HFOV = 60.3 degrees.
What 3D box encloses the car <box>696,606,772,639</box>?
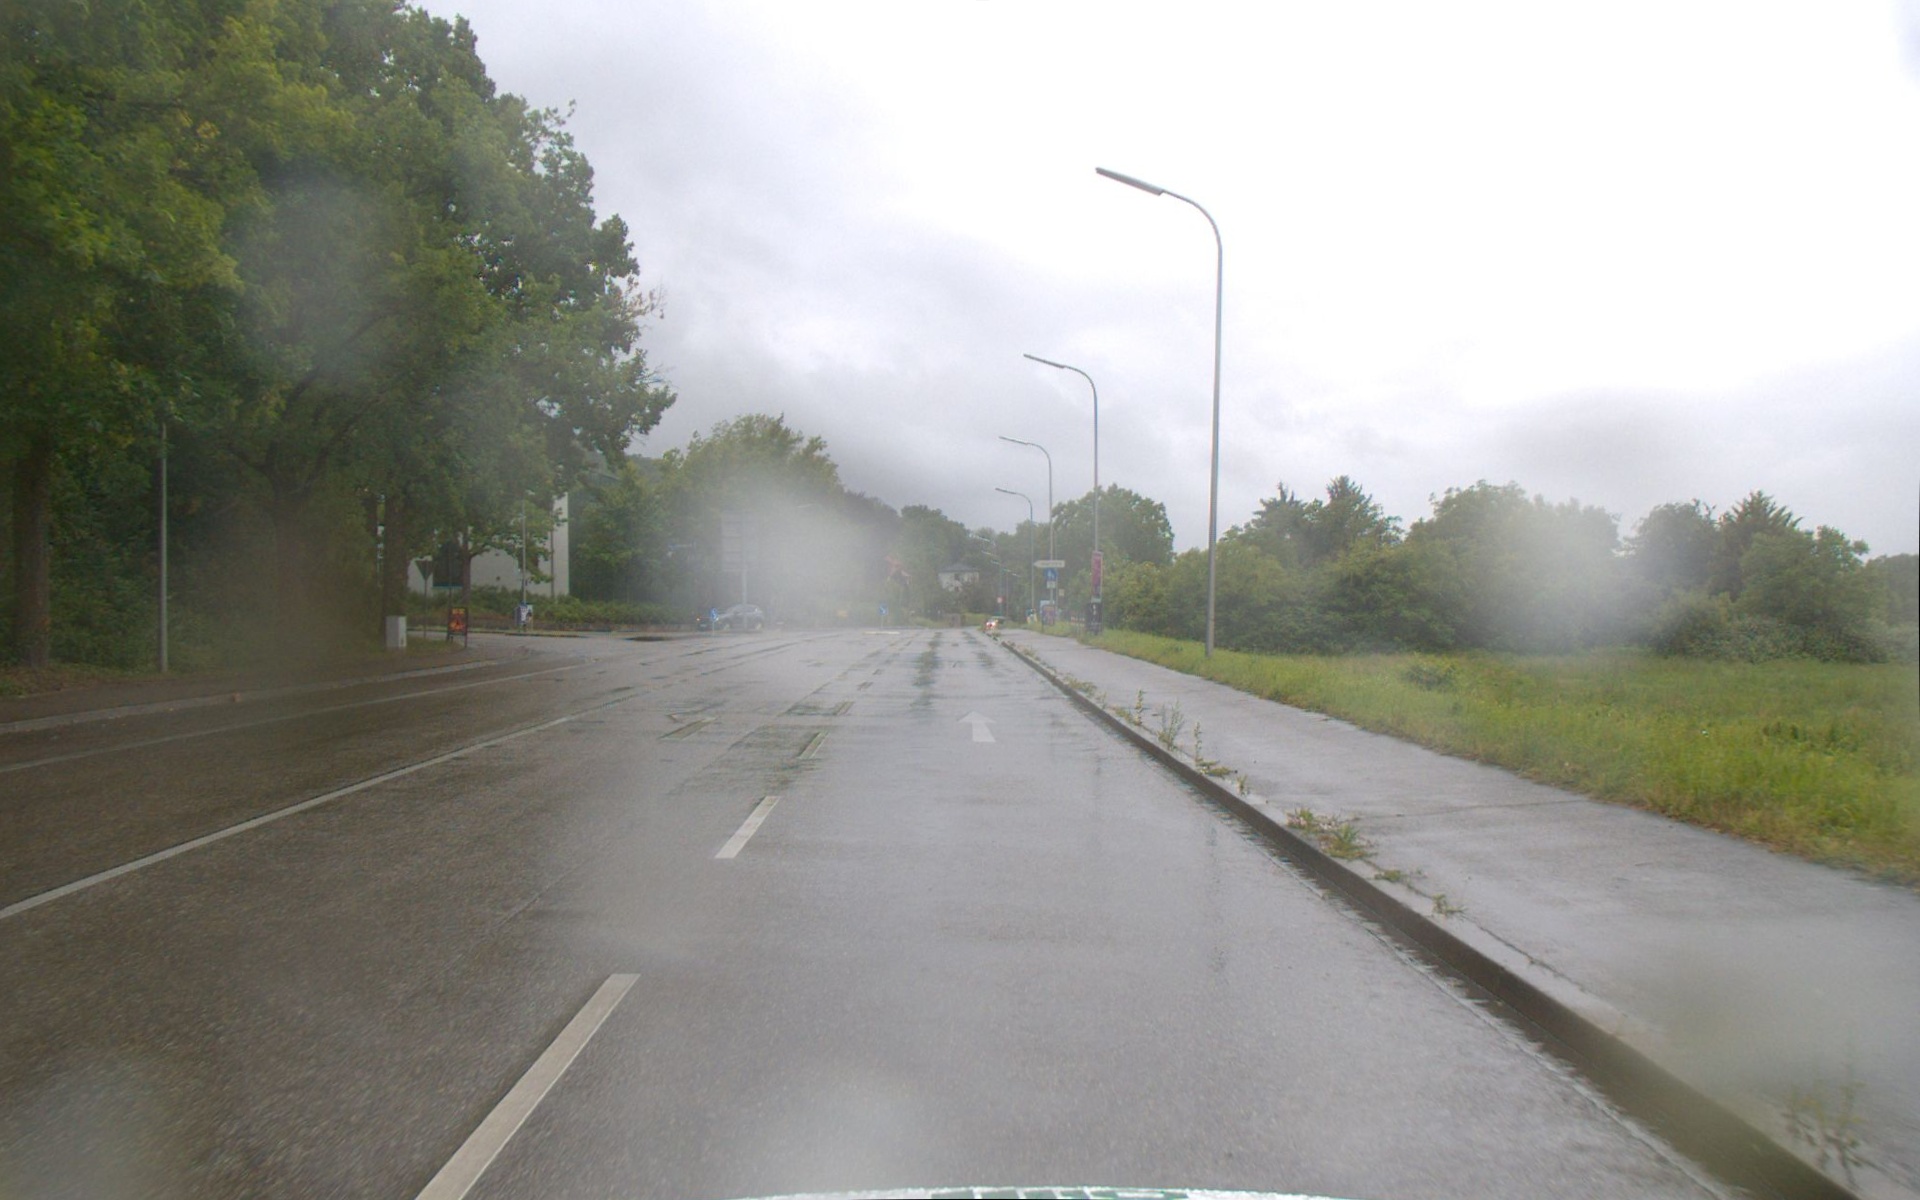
[{"bbox_3d":[-12.895,1.283,94.507,3.961,1.793,1.775,1,0,-39],"label":"car"}]
